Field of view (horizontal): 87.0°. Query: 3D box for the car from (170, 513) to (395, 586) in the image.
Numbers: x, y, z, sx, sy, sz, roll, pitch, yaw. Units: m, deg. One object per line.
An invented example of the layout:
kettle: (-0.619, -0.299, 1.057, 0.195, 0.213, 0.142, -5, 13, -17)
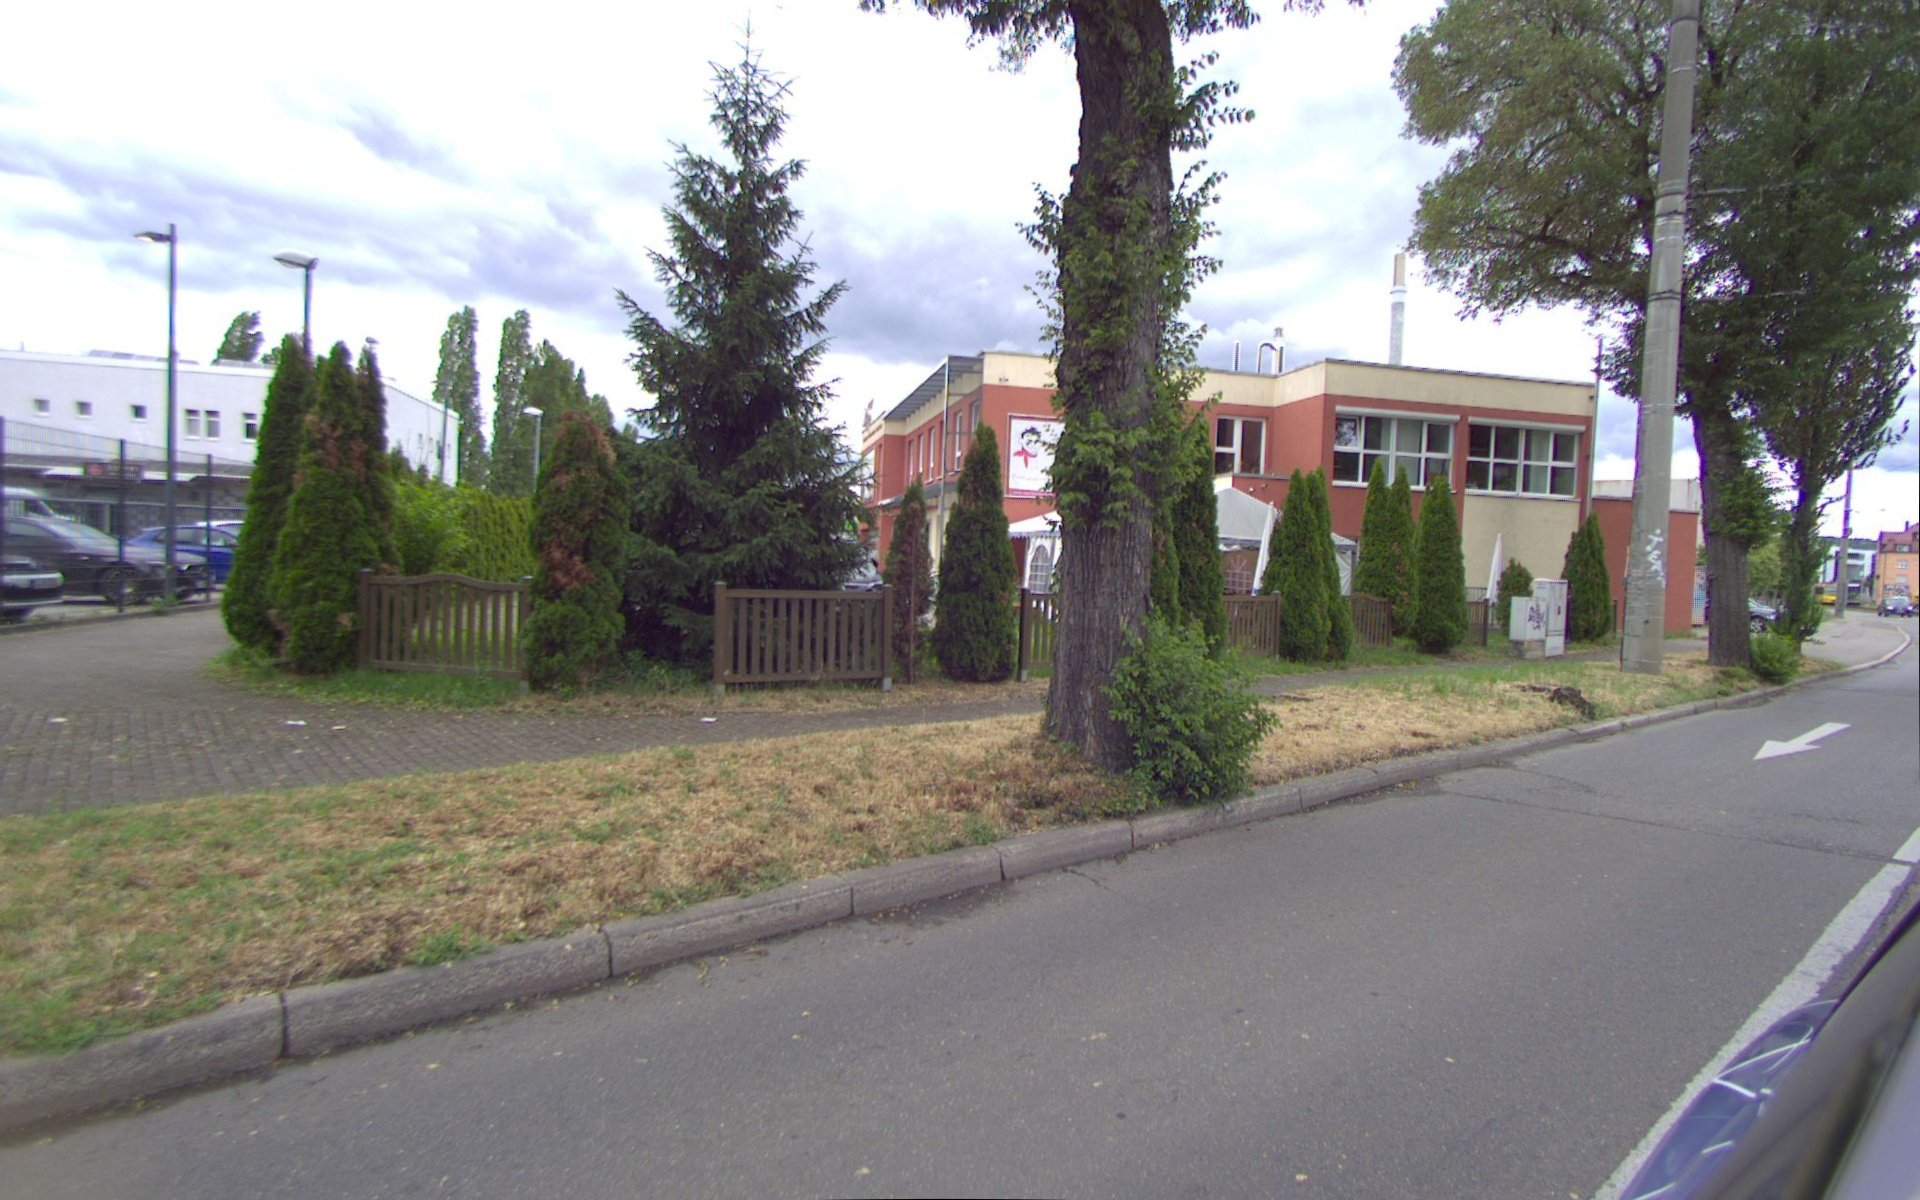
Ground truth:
car: (-17.860, -1.320, 26.913, 4.540, 1.695, 2.005, 1, 2, -13)

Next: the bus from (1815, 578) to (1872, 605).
bus: (144.120, -1.484, 165.245, 3.519, 4.001, 10.421, 1, 3, 21)

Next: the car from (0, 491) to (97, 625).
car: (-14.595, -0.627, 13.286, 4.540, 1.695, 2.005, 1, 2, -13)

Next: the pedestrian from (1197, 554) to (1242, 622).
pedestrian: (5.932, -0.291, 23.139, 0.754, 1.508, 0.706, 2, 2, -4)

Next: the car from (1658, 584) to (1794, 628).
car: (32.266, 0.219, 42.786, 1.726, 1.460, 4.246, 2, 4, -19)

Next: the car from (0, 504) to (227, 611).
car: (-15.736, -0.760, 17.482, 4.540, 1.695, 2.005, 1, 2, -13)

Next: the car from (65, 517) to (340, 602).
car: (-16.934, -0.897, 22.887, 4.540, 1.695, 2.005, 1, 2, -13)

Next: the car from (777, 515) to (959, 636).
car: (-1.701, -0.441, 16.931, 1.958, 1.727, 4.387, 1, 2, -20)
